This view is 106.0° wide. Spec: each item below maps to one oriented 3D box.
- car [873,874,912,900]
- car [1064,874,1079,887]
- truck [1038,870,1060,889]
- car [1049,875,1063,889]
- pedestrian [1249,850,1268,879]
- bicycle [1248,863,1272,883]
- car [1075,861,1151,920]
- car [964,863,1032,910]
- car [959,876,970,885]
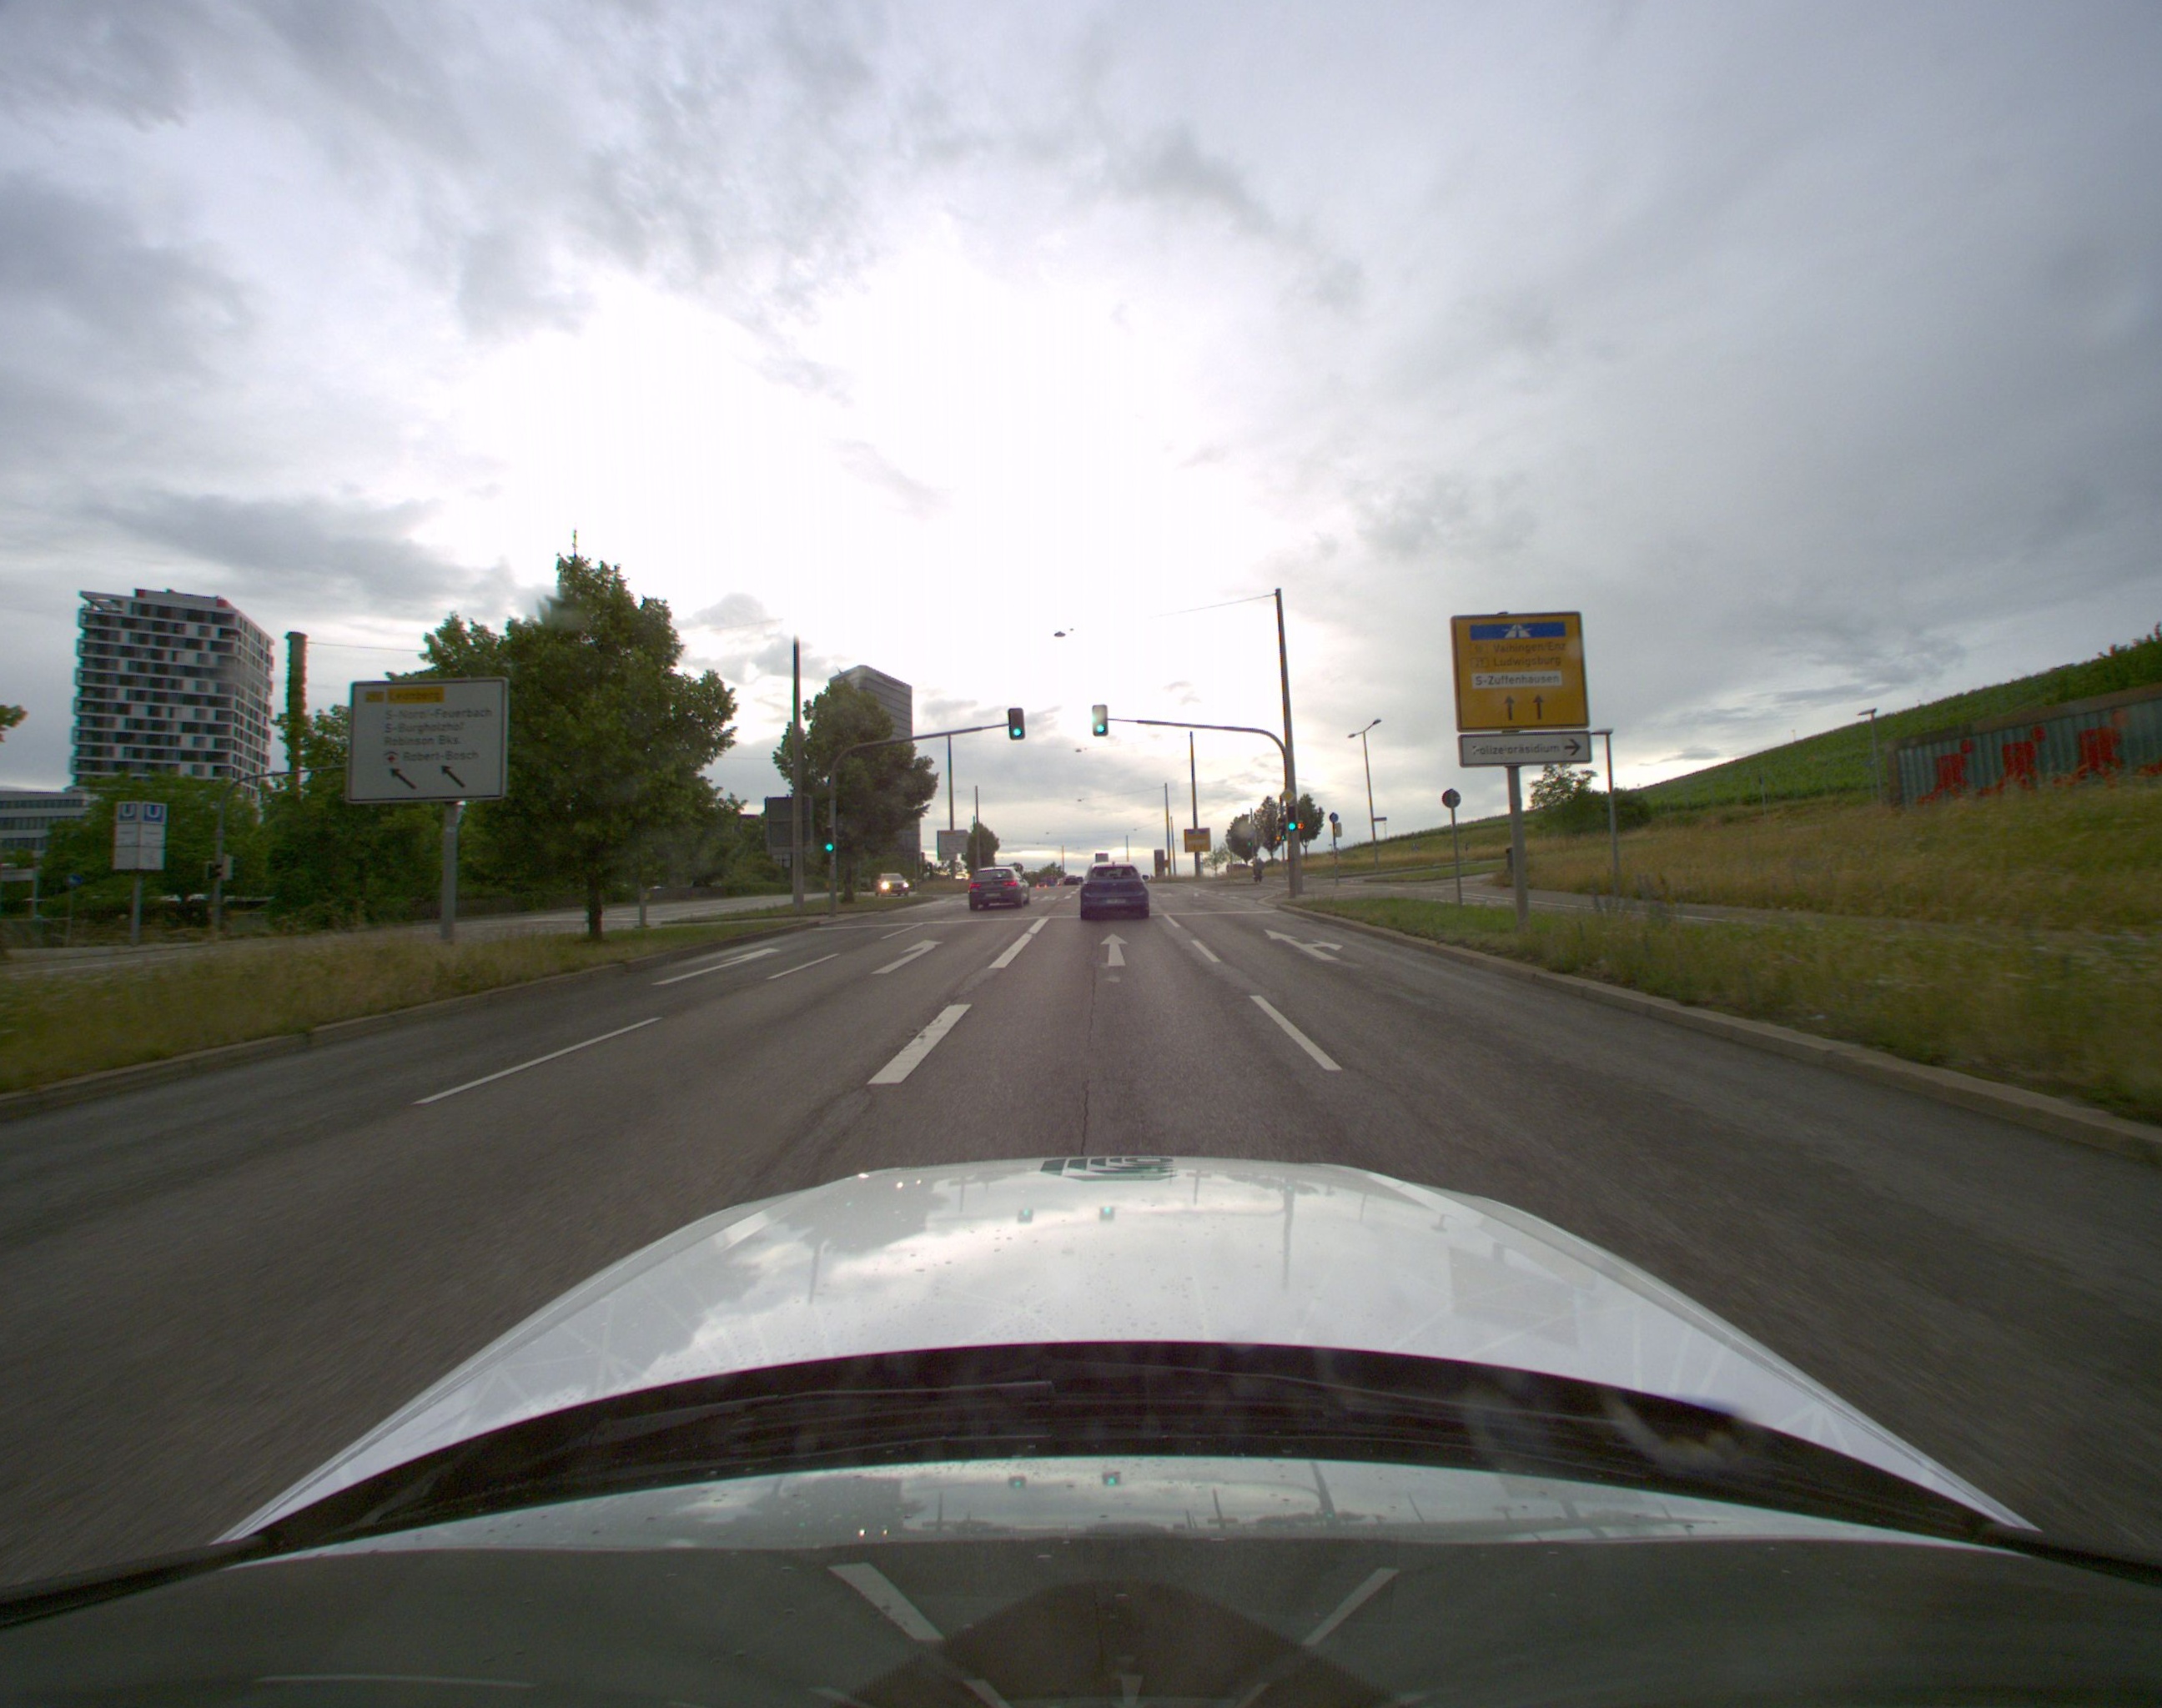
[{"bbox_3d":[-12.098,2.083,52.156,1.896,1.507,3.972,-2,-1,-20],"label":"car"},{"bbox_3d":[-1.157,3.335,102.338,1.716,1.541,3.704,0,-1,1],"label":"car"},{"bbox_3d":[-5.897,4.705,149.274,2.672,3.221,6.511,1,-4,-16],"label":"truck"},{"bbox_3d":[-4.048,4.572,132.915,1.902,1.973,5.080,-2,-4,-6],"label":"car"},{"bbox_3d":[10.182,0.608,46.752,0.633,1.570,0.893,-6,0,-9],"label":"pedestrian"},{"bbox_3d":[10.233,1.084,46.666,0.633,1.105,1.747,-6,0,-9],"label":"bicycle"},{"bbox_3d":[0.871,0.919,21.911,1.831,1.393,4.002,-2,-1,2],"label":"car"},{"bbox_3d":[-2.819,1.097,28.516,1.862,1.461,3.976,-1,-1,1],"label":"car"},{"bbox_3d":[-21.777,4.981,152.070,1.894,1.658,4.586,-1,-3,-11],"label":"car"}]
